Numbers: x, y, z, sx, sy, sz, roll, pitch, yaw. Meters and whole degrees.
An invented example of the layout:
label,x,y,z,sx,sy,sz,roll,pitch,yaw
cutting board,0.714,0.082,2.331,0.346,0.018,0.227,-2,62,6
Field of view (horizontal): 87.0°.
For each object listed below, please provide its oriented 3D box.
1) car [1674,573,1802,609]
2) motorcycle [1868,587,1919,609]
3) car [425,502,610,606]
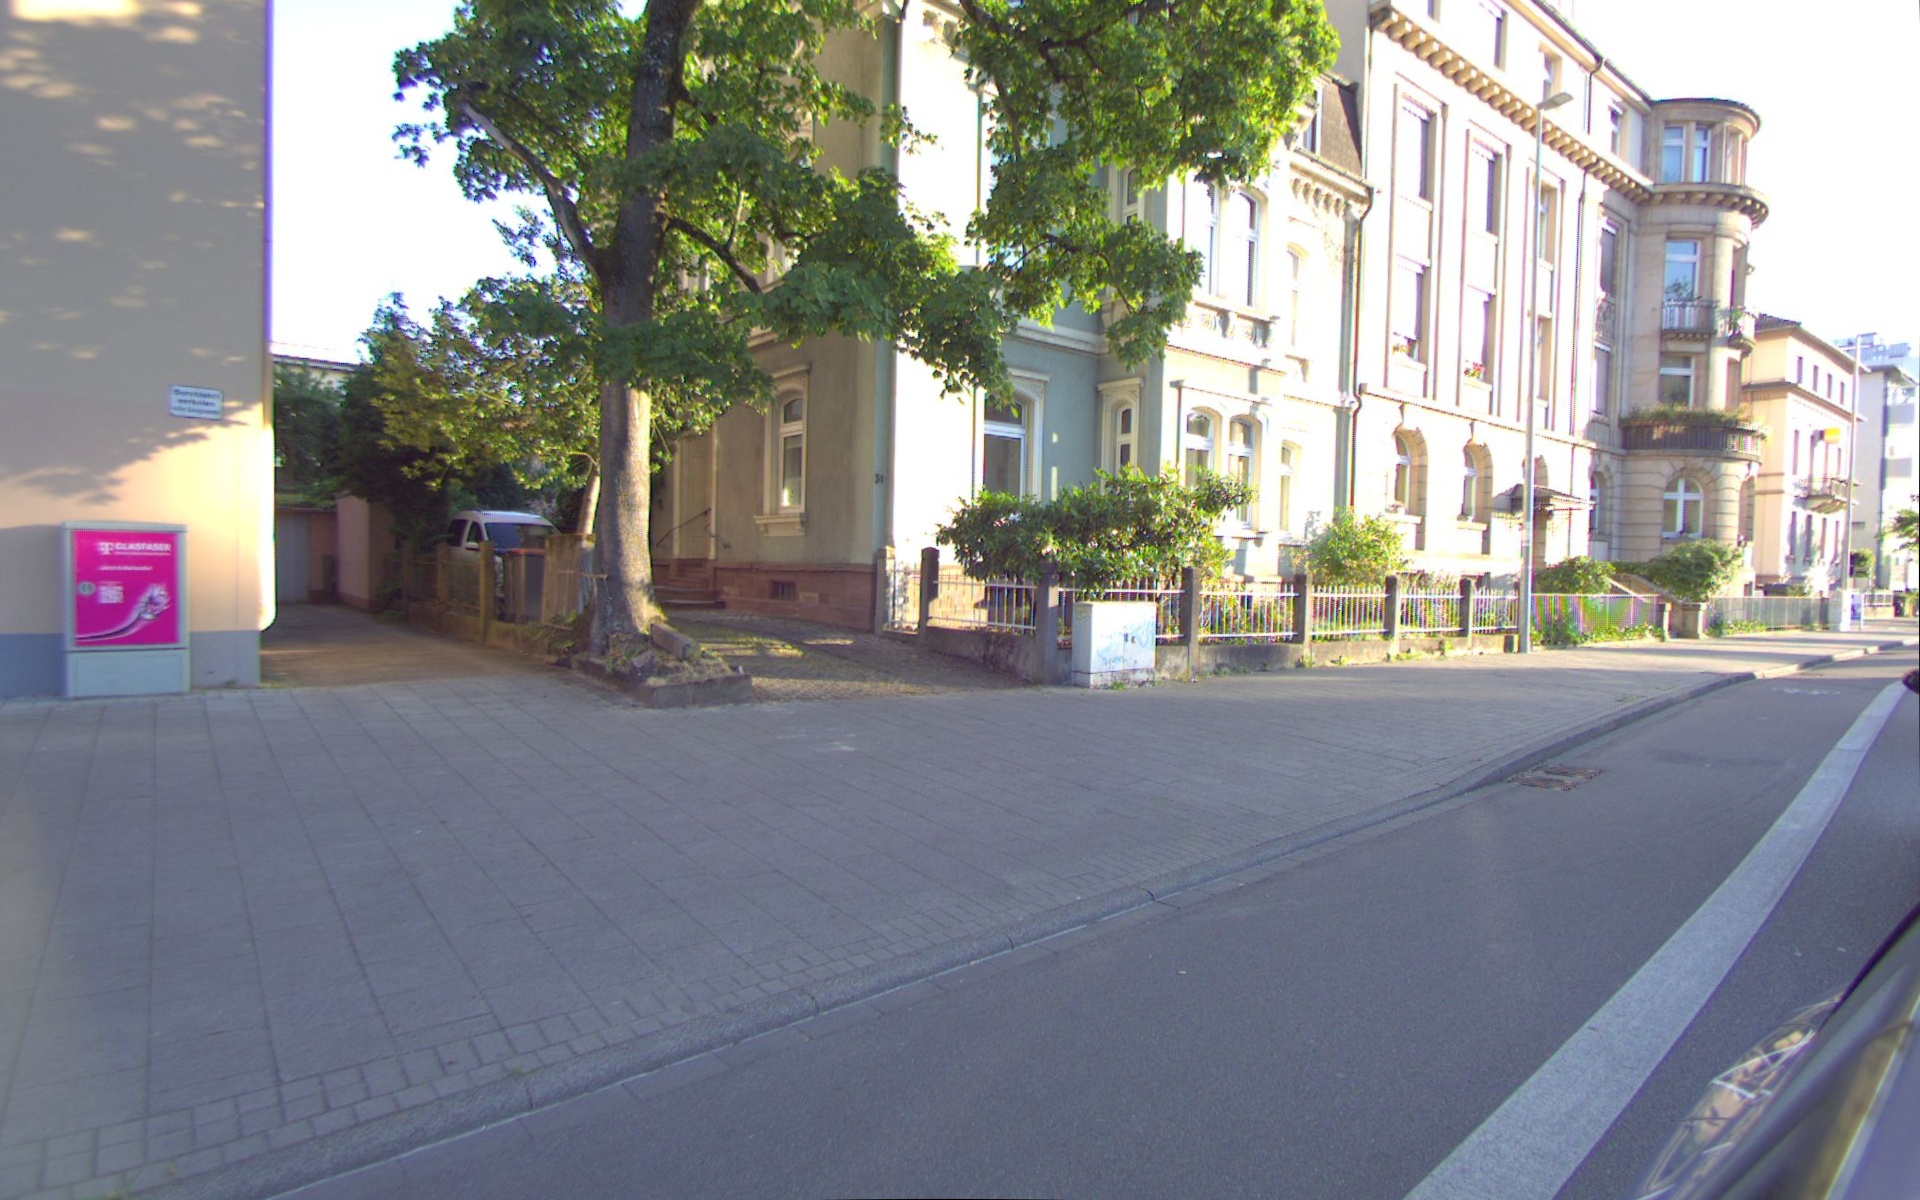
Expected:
label,x,y,z,sx,sy,sz,roll,pitch,yaw
car,34.040,-0.418,44.343,1.903,1.499,4.098,0,2,-38
motorcycle,48.298,-0.123,52.350,0.564,1.110,1.851,0,1,-33
car,-8.657,-0.933,19.586,1.795,1.778,4.513,1,3,-44
